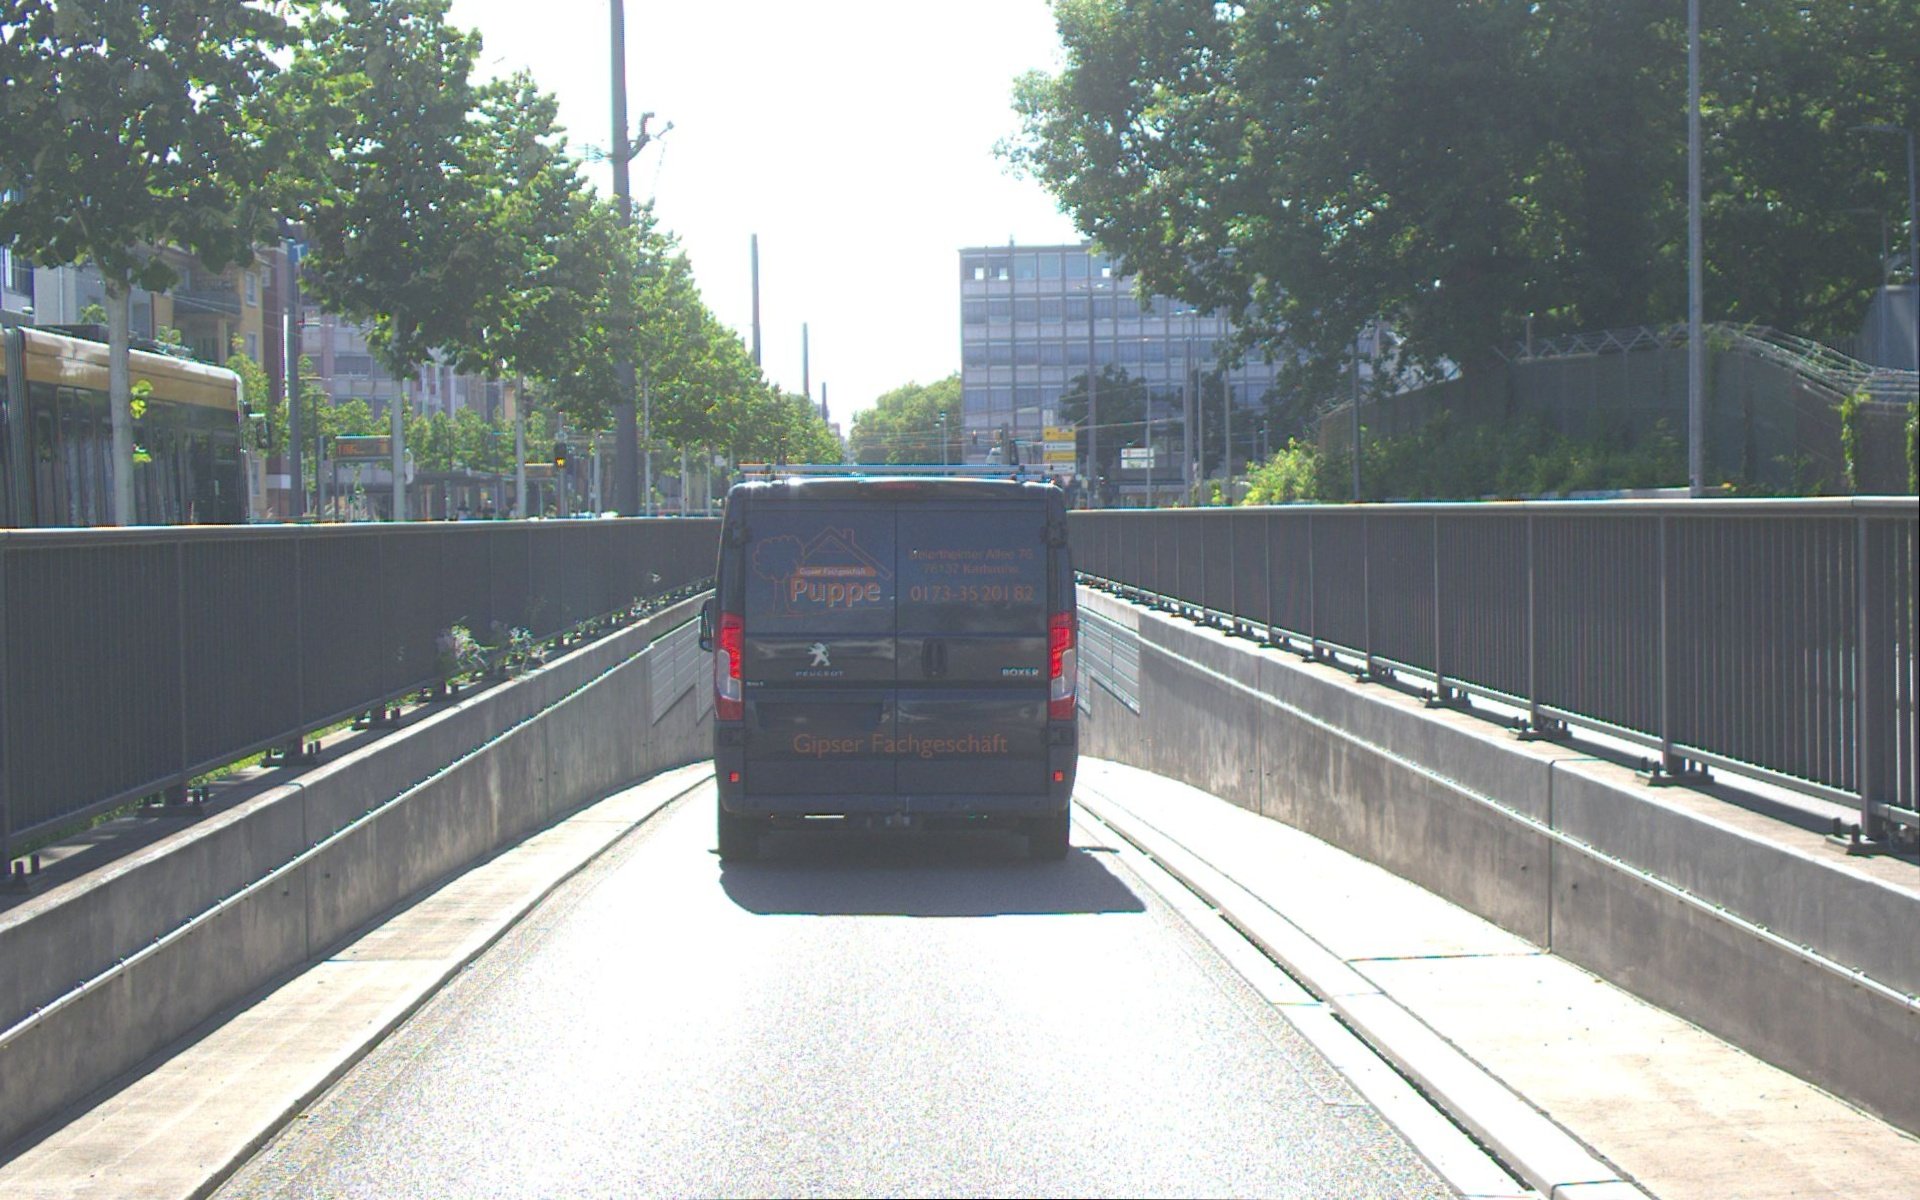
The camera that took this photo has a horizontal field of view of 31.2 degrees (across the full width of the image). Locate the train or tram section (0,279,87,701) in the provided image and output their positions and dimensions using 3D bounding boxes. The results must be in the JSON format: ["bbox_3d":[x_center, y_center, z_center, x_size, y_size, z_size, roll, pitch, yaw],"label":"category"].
[{"bbox_3d":[-9.909,-0.946,27.830,2.610,3.808,13.092,1,1,-1],"label":"train or tram section"}]

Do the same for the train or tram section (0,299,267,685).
[{"bbox_3d":[-10.162,-1.180,39.369,2.612,3.841,9.972,1,1,-1],"label":"train or tram section"}]

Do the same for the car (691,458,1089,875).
[{"bbox_3d":[-0.399,0.368,21.025,2.158,2.258,4.636,0,0,0],"label":"car"}]
